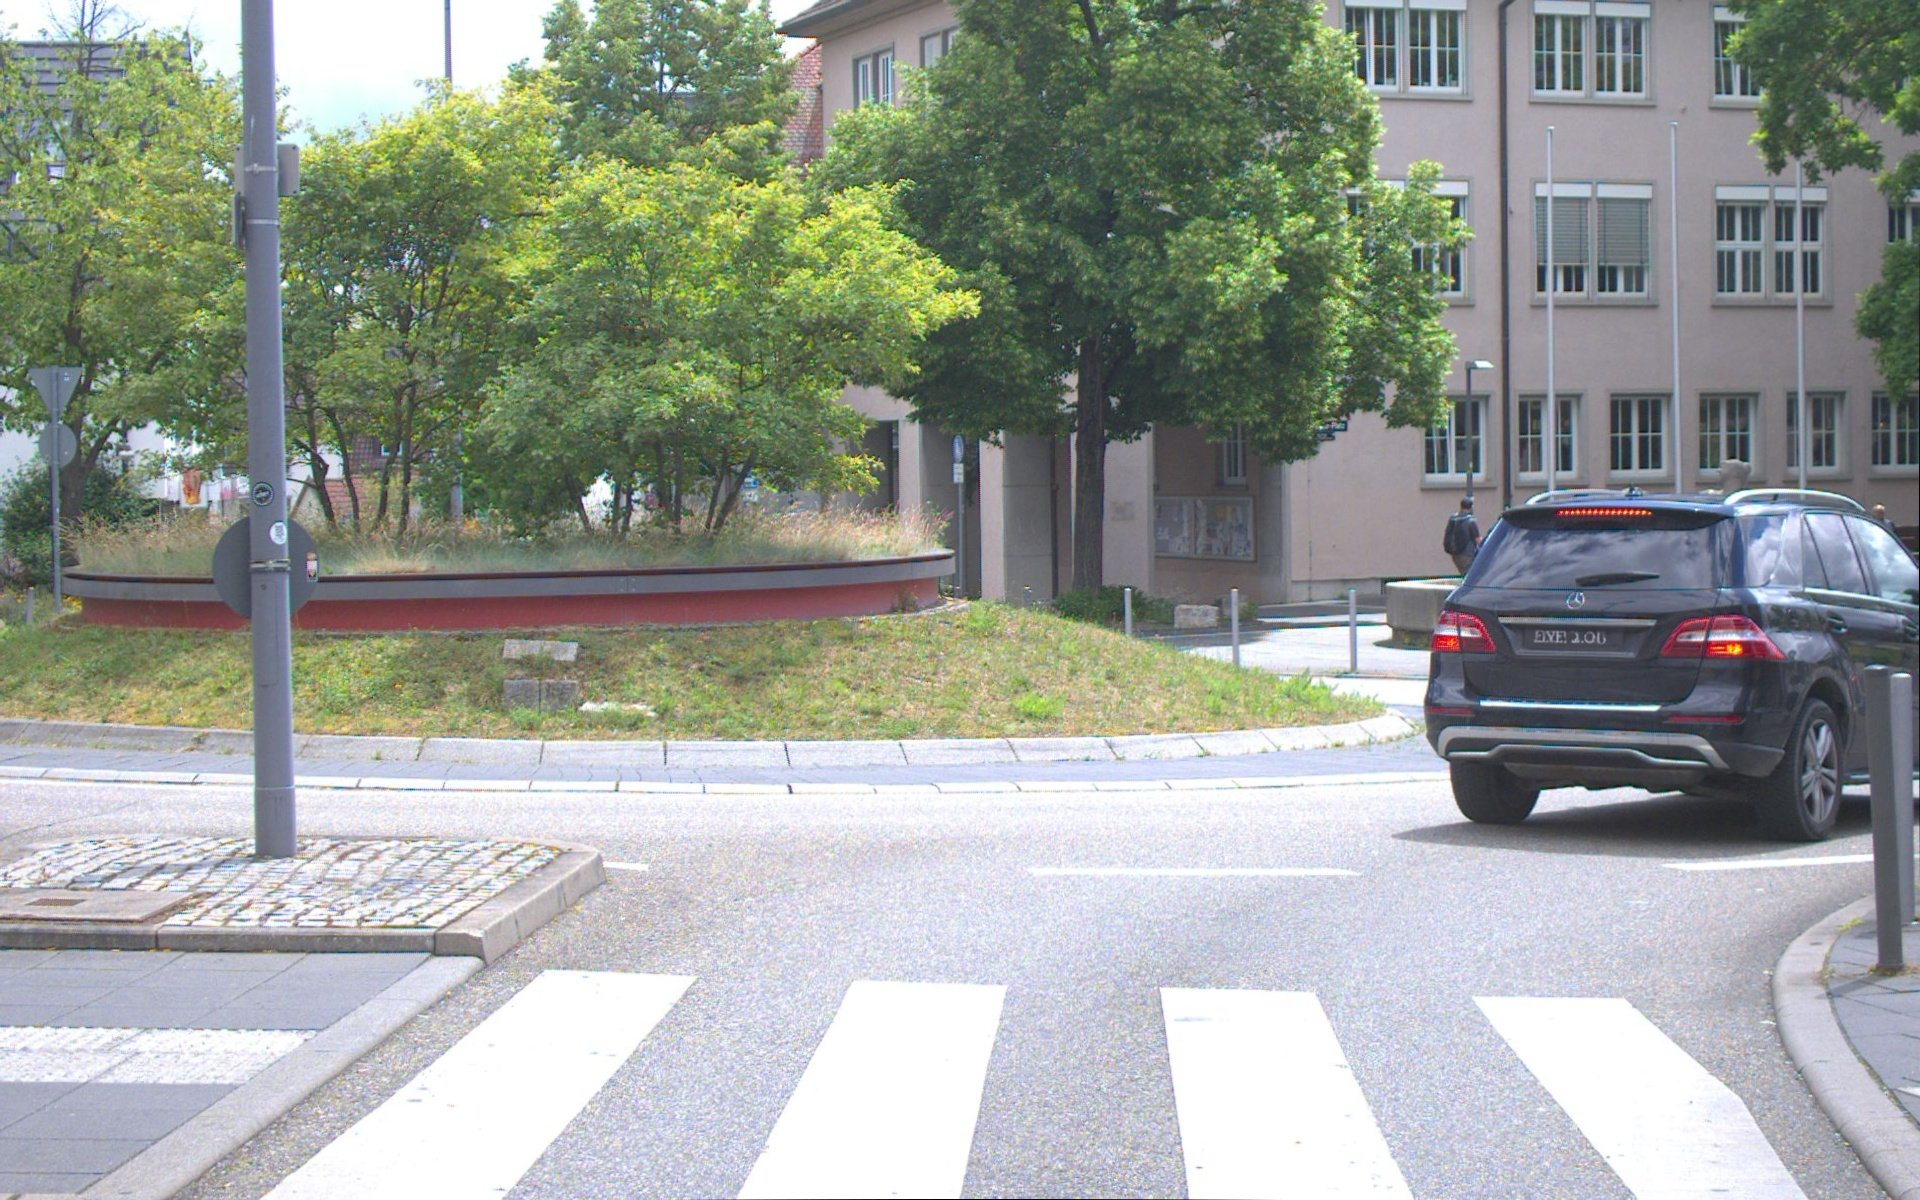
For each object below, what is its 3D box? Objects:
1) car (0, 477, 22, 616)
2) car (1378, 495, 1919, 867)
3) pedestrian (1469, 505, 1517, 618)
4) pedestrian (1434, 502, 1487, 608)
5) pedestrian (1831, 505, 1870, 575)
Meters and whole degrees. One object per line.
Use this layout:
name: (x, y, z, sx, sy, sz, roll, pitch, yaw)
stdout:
car: (-20.948, -1.033, 64.184, 6.284, 2.551, 2.206, 1, -2, -27)
car: (4.173, 0.320, 18.628, 2.031, 1.721, 4.425, 2, 2, 33)
pedestrian: (7.749, -0.566, 50.009, 0.572, 1.603, 0.438, 1, 5, -3)
pedestrian: (7.383, -0.666, 50.706, 0.636, 1.518, 0.577, 1, 5, -3)
pedestrian: (15.121, -1.019, 58.359, 0.487, 1.178, 0.580, 2, 1, 29)
